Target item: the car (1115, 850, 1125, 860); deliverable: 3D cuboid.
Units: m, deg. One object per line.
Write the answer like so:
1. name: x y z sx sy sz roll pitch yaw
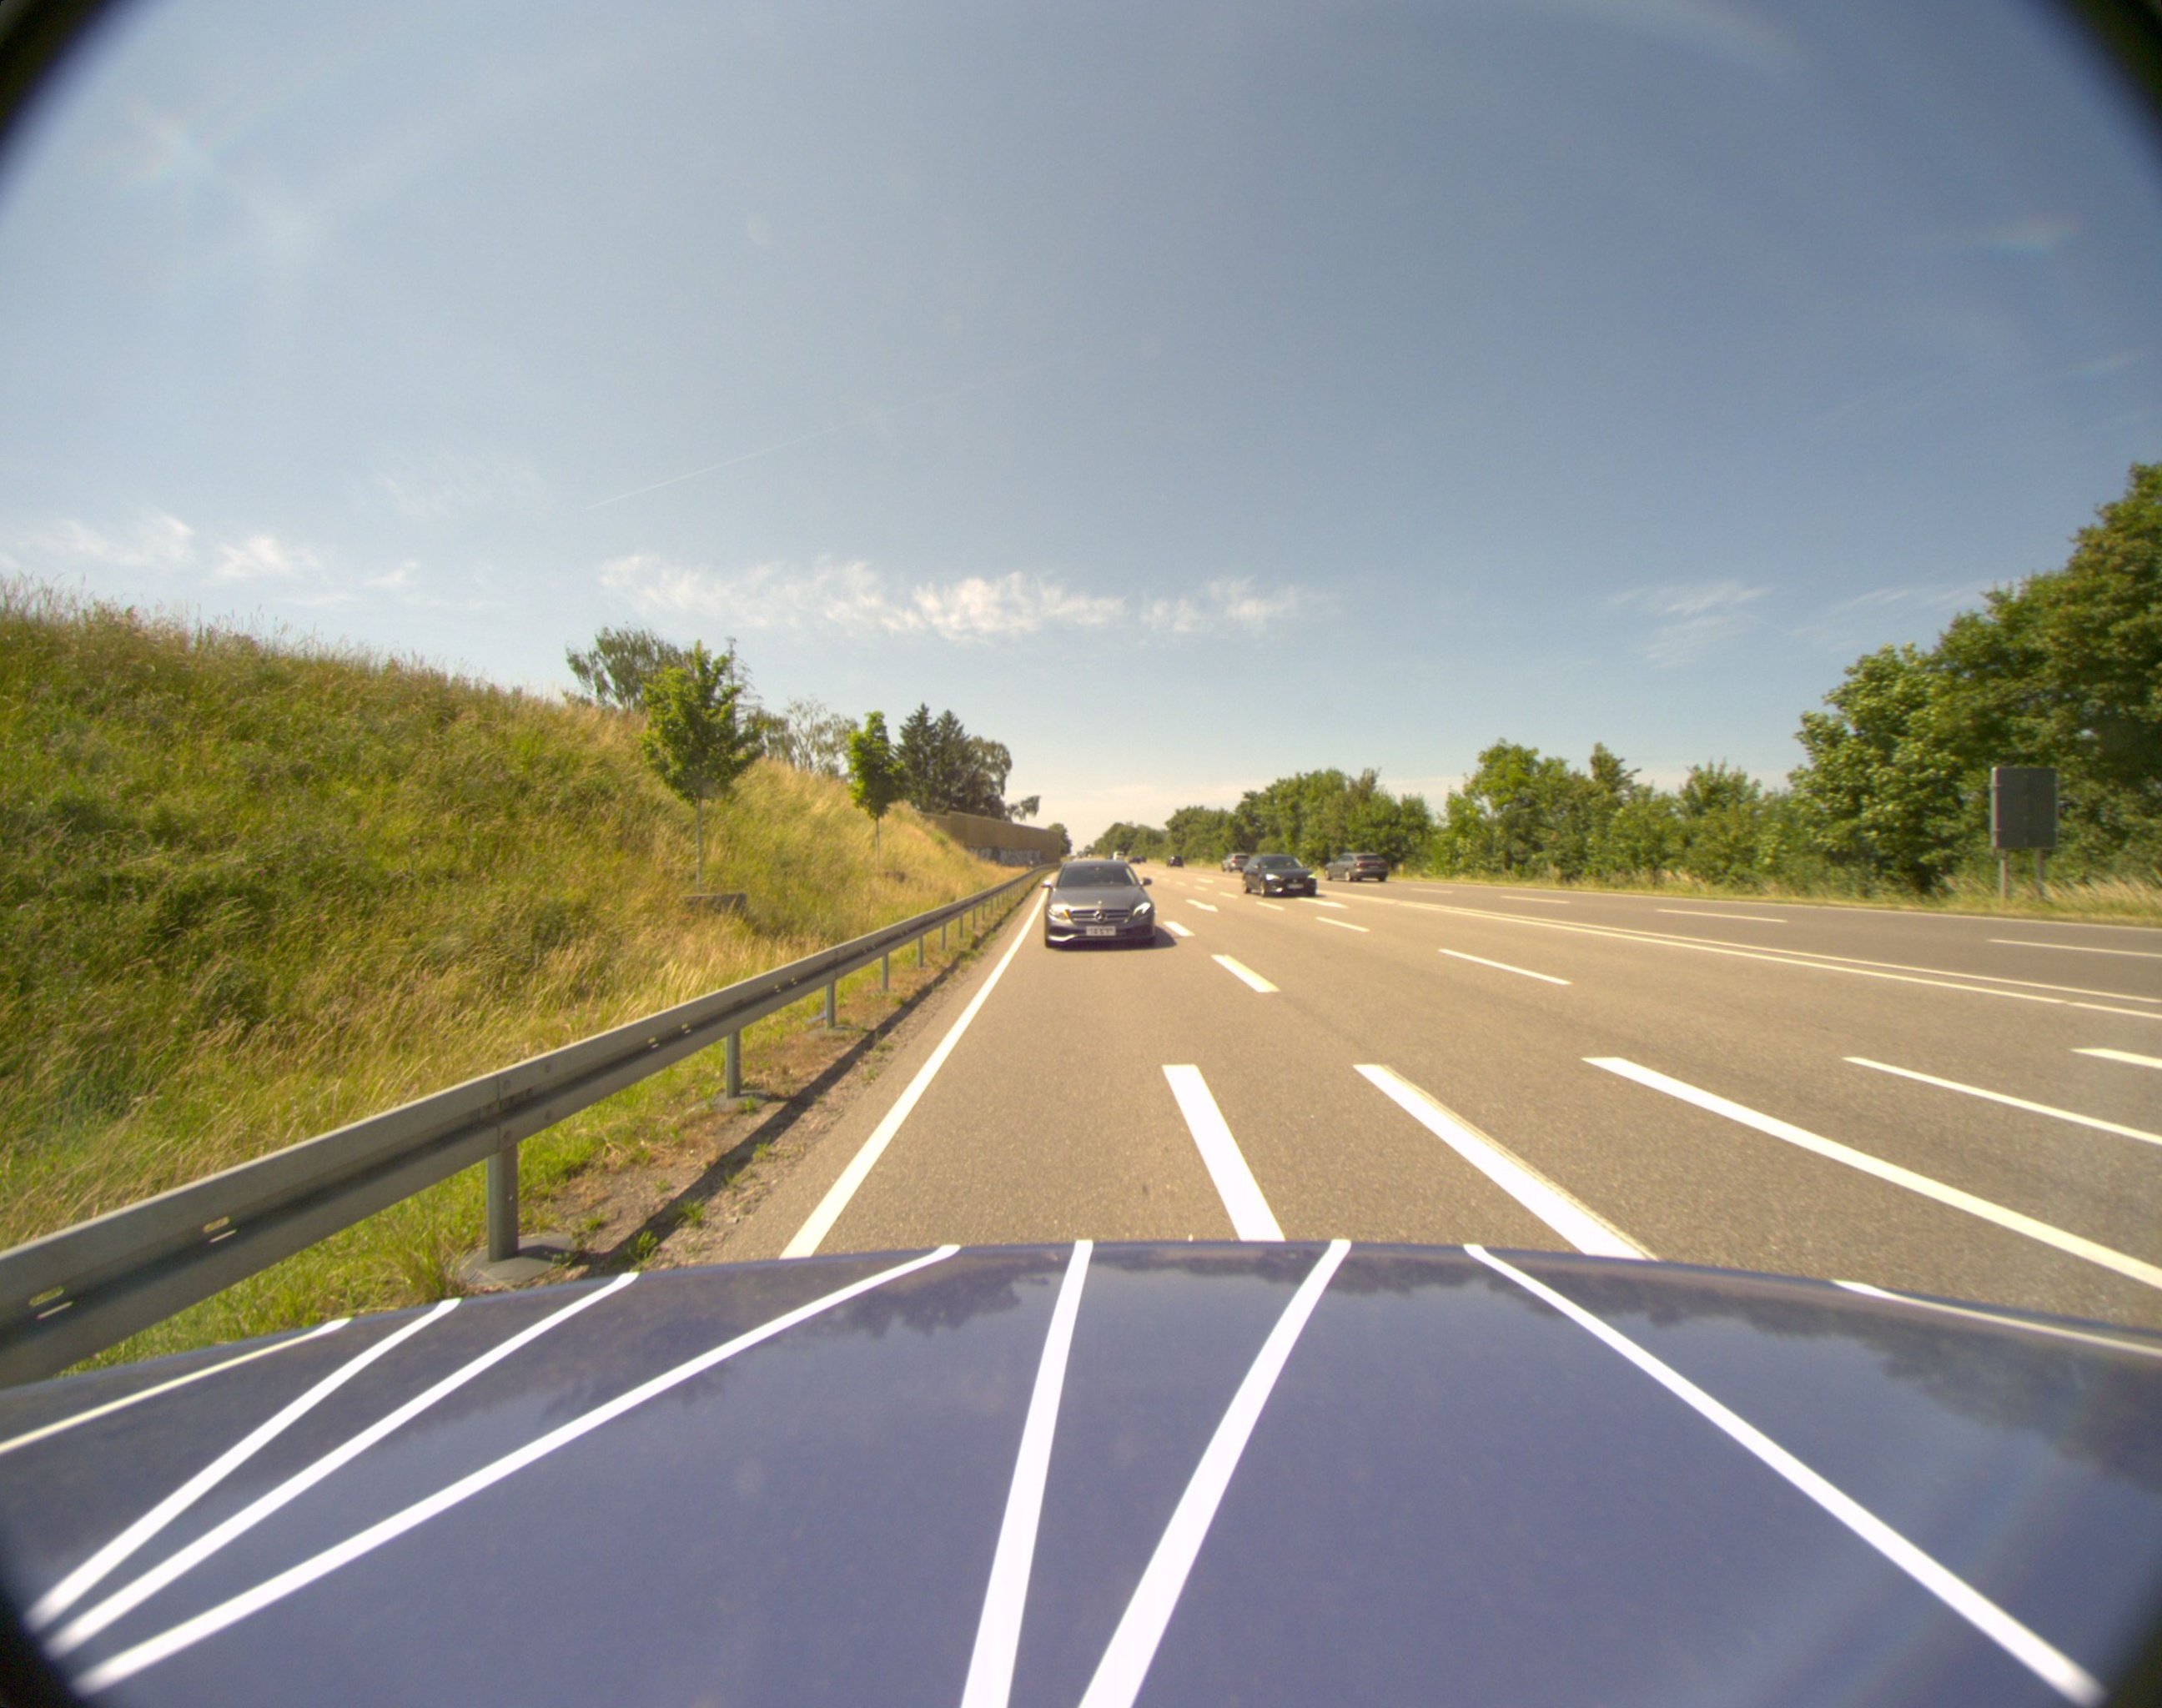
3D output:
1. car: 7.883 0.174 153.457 1.910 1.906 5.051 0 0 0

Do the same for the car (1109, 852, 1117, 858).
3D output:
1. car: 8.137 0.230 194.233 1.893 1.527 4.525 -2 1 1

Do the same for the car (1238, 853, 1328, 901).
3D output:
1. car: 6.990 0.741 26.783 1.894 1.439 4.525 -2 1 -1

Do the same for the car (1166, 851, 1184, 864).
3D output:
1. car: 11.575 0.422 94.160 1.649 1.479 3.558 -2 0 -2

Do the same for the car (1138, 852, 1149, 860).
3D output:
1. car: 12.189 0.338 147.884 1.526 1.461 3.787 -2 1 -3

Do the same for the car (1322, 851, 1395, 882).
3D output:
1. car: 13.962 0.589 38.508 1.883 1.390 4.530 -2 1 -2

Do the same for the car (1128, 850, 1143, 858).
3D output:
1. car: 9.155 0.034 127.770 1.810 1.272 4.763 -1 0 -3

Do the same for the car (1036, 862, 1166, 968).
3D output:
1. car: 0.234 0.923 13.538 1.894 1.439 4.524 -2 1 -2

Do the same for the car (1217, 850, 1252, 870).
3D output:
1. car: 13.496 0.467 67.124 2.033 1.630 4.568 -2 0 -2
